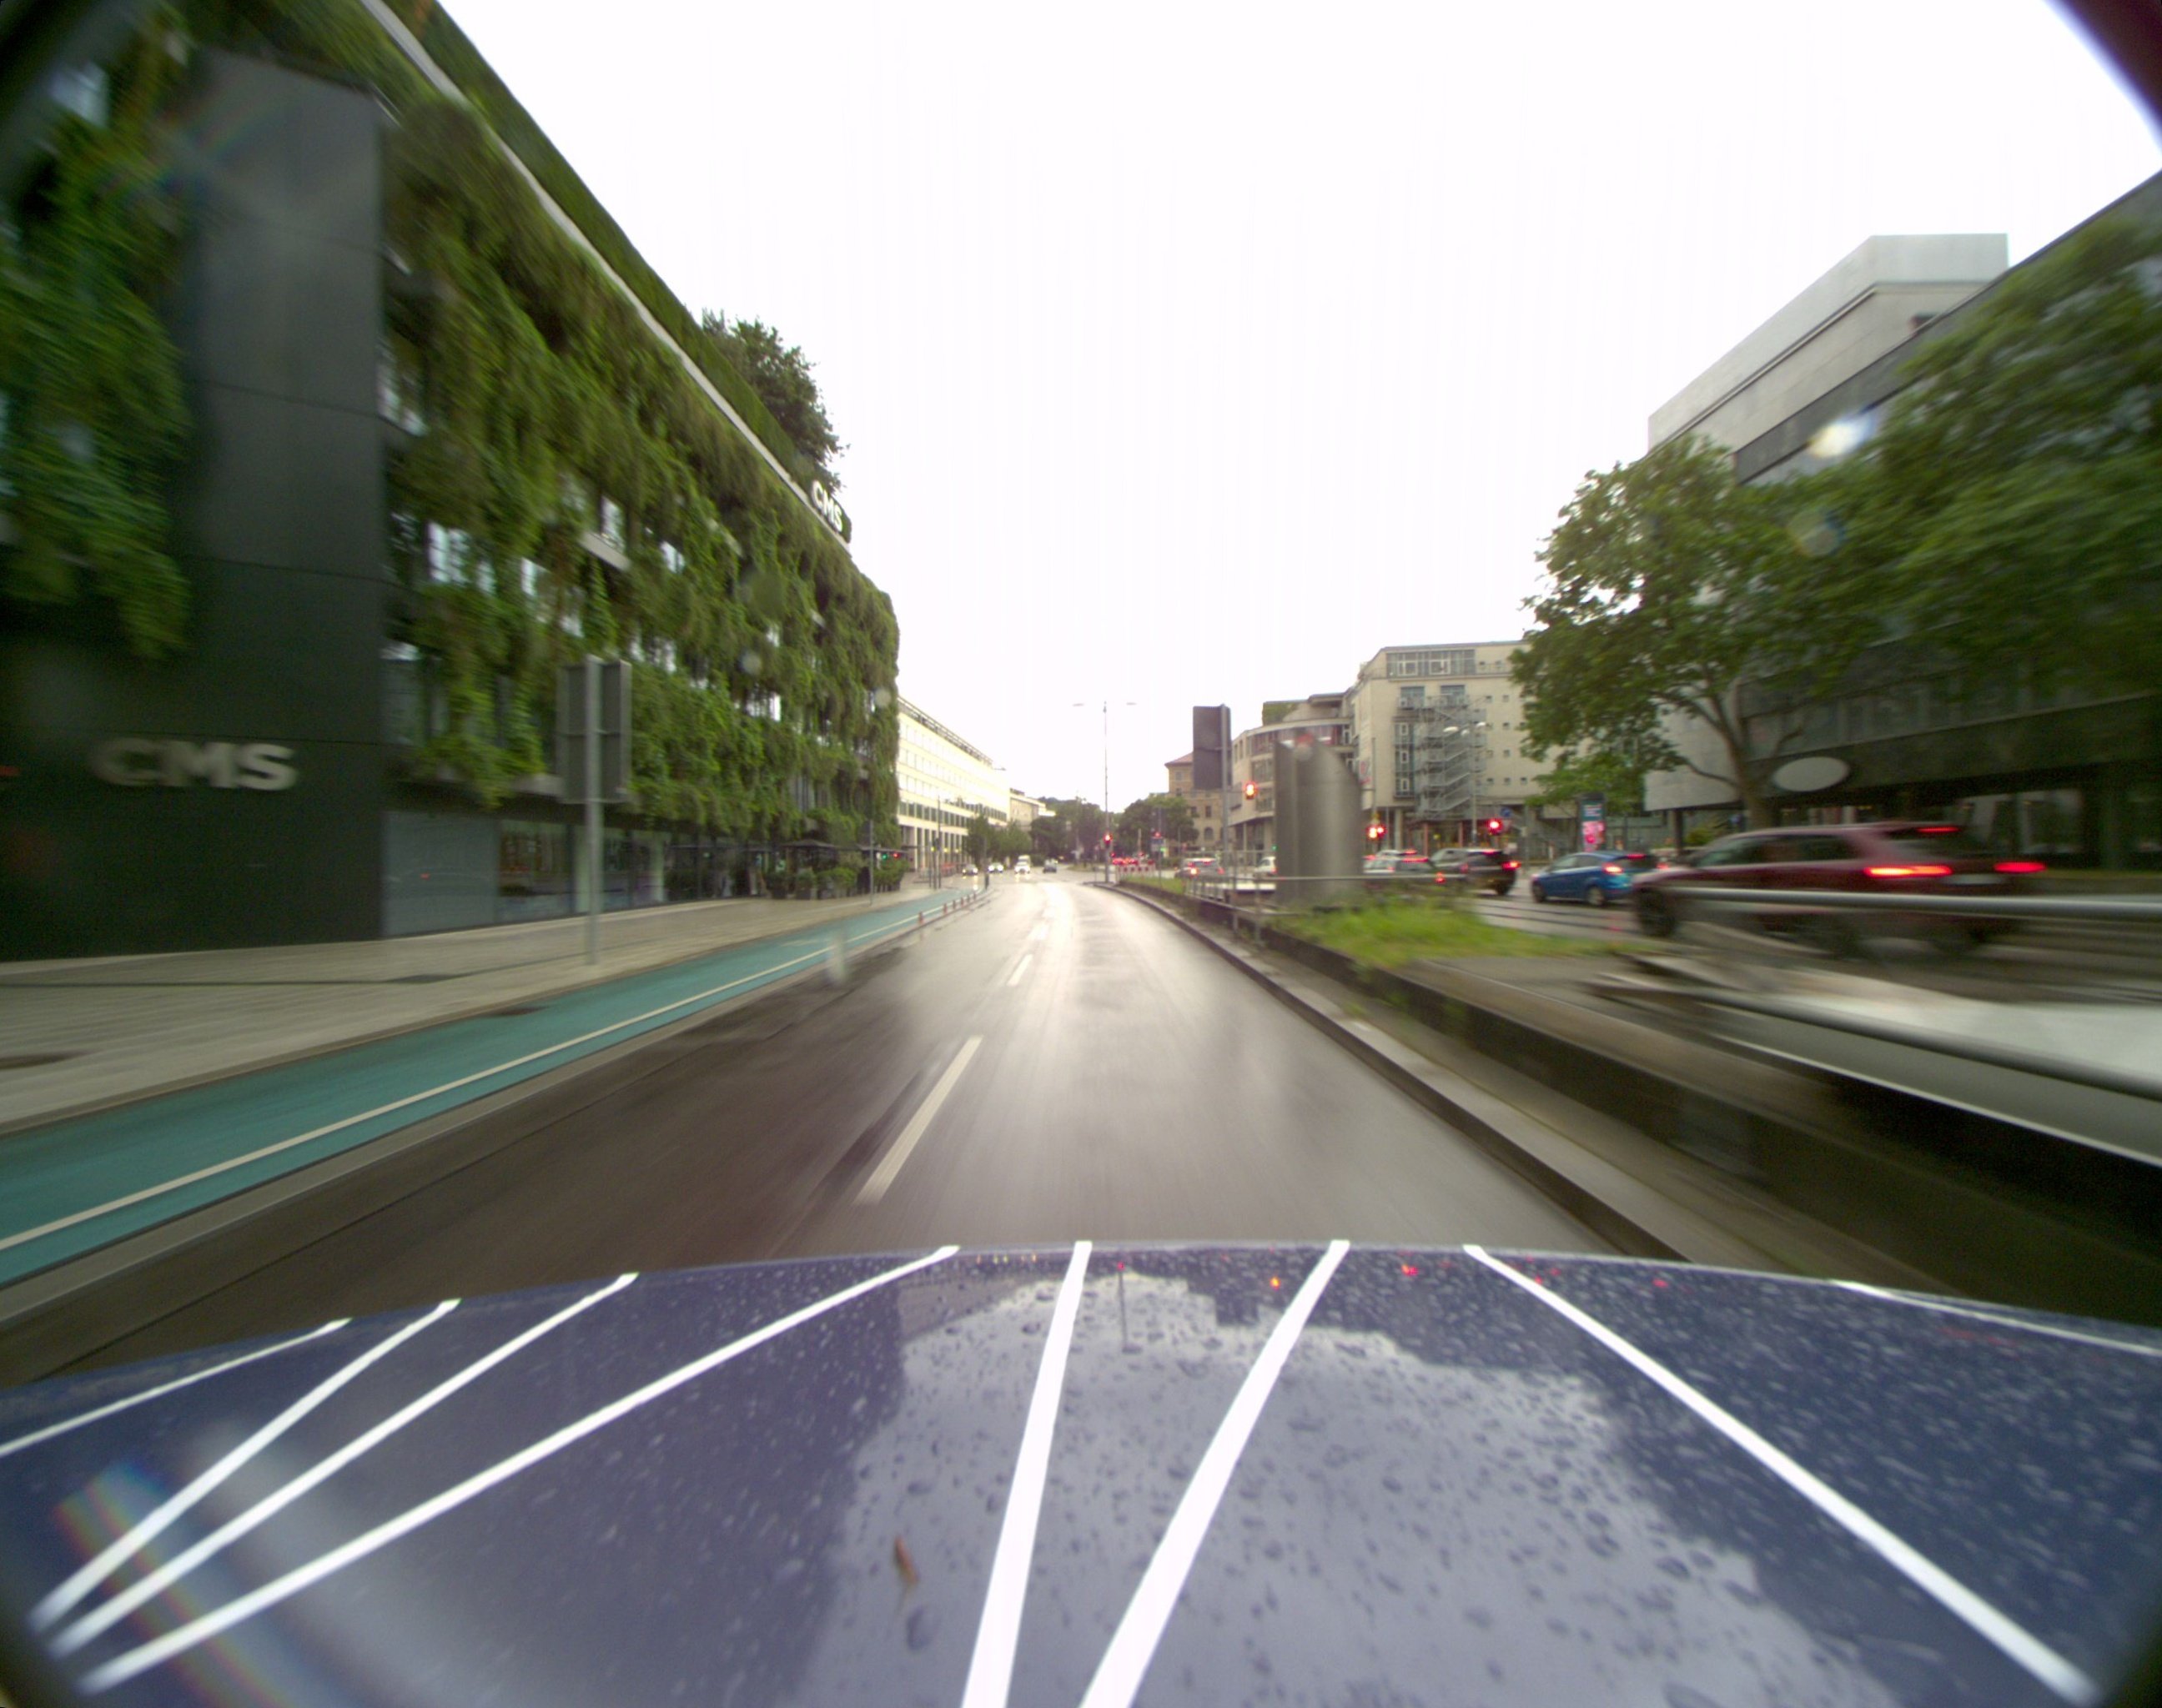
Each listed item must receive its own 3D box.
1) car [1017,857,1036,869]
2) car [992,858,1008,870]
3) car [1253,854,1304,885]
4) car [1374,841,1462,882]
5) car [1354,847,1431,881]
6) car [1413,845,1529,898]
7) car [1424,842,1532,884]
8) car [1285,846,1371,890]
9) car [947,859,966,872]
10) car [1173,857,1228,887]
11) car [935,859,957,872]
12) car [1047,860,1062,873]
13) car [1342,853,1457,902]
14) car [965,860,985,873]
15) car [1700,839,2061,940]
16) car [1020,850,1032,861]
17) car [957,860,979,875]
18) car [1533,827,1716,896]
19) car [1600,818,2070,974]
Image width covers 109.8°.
[{"bbox_3d":[-7.067,1.154,99.140,1.978,1.543,4.671,-1,0,1],"label":"car"},{"bbox_3d":[-11.650,1.427,109.283,1.739,1.543,4.671,-1,0,1],"label":"car"},{"bbox_3d":[10.004,0.747,38.703,1.721,1.467,3.431,-2,0,0],"label":"car"},{"bbox_3d":[13.943,0.296,31.673,1.758,1.556,3.999,-2,0,-2],"label":"car"},{"bbox_3d":[16.019,0.491,39.362,1.762,1.608,4.660,-2,0,-4],"label":"car"},{"bbox_3d":[13.648,0.575,26.897,1.848,1.655,4.412,-2,0,1],"label":"car"},{"bbox_3d":[16.726,0.346,32.318,1.999,1.595,4.586,-2,0,-3],"label":"car"},{"bbox_3d":[10.358,0.569,32.276,1.882,1.675,4.797,-2,0,-3],"label":"car"},{"bbox_3d":[-16.603,1.542,101.593,1.739,1.543,4.671,-1,0,1],"label":"car"},{"bbox_3d":[6.237,0.924,40.146,1.849,1.473,4.162,-2,0,-5],"label":"car"},{"bbox_3d":[-16.640,1.374,93.604,1.739,1.543,4.671,-1,0,1],"label":"car"},{"bbox_3d":[-3.499,1.548,98.454,1.740,1.543,4.669,-1,0,-4],"label":"car"},{"bbox_3d":[10.650,0.735,25.840,1.848,1.442,4.917,-2,0,1],"label":"car"},{"bbox_3d":[-13.444,1.529,96.290,1.739,1.543,4.671,-1,0,1],"label":"car"},{"bbox_3d":[13.933,0.543,13.755,1.723,1.482,4.569,-2,0,1],"label":"car"},{"bbox_3d":[-11.088,0.295,153.060,1.998,2.002,4.000,-2,0,1],"label":"car"},{"bbox_3d":[-13.152,1.568,88.789,1.739,1.543,4.671,-1,0,1],"label":"car"},{"bbox_3d":[13.908,0.168,19.778,1.758,1.556,3.999,-2,0,-2],"label":"car"},{"bbox_3d":[10.442,0.497,11.311,1.840,1.756,5.108,-2,0,-1],"label":"car"}]
